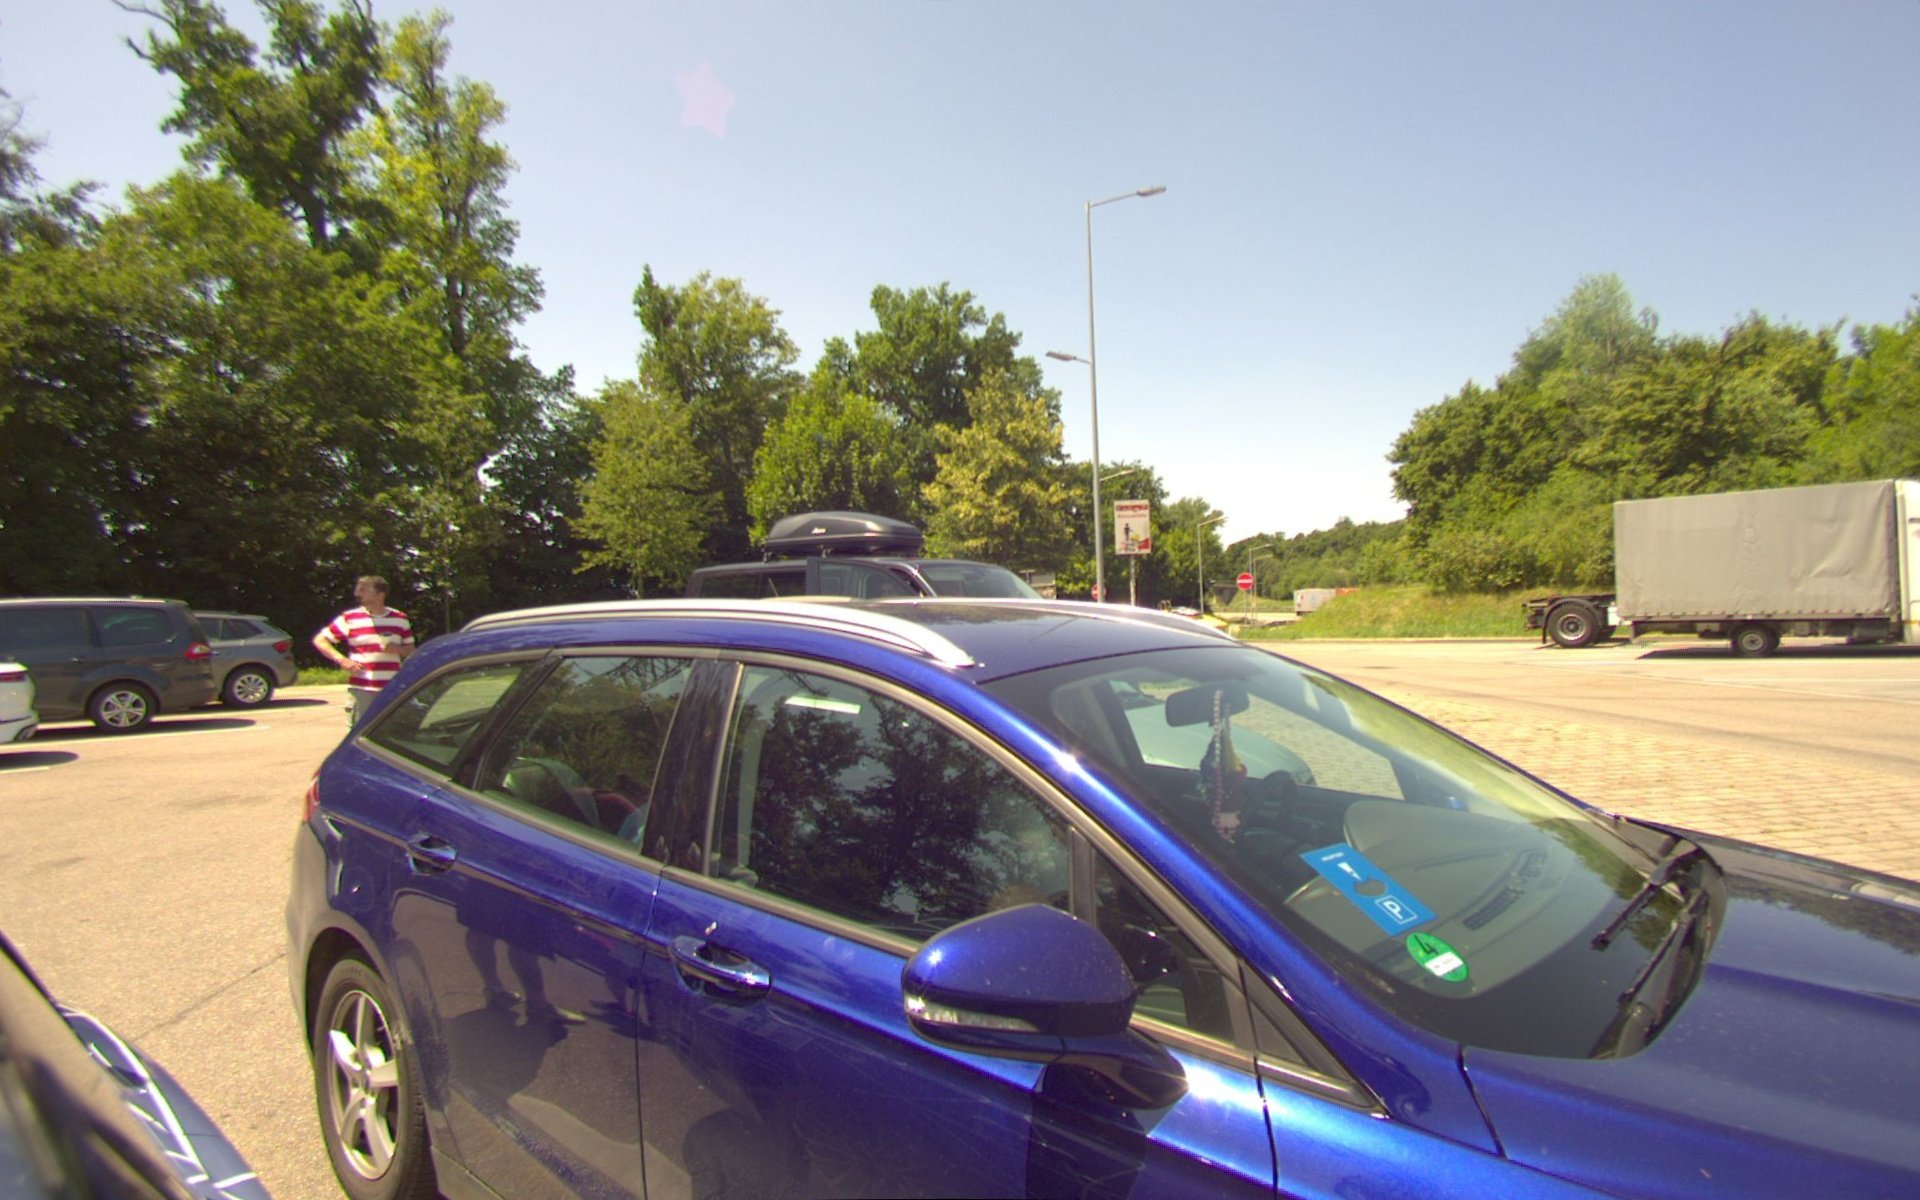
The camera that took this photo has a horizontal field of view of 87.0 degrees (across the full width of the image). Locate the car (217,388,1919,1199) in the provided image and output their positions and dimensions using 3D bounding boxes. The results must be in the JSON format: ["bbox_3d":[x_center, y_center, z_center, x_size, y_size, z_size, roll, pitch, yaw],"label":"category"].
[{"bbox_3d":[0.225,0.633,2.078,4.569,1.482,1.735,-3,0,40],"label":"car"}]

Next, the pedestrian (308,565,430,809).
[{"bbox_3d":[-4.607,0.628,7.878,0.743,1.767,0.787,-1,0,-35],"label":"pedestrian"}]

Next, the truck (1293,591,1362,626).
[{"bbox_3d":[49.717,1.110,137.437,2.716,4.589,14.086,-1,0,-7],"label":"truck"}]

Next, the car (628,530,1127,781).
[{"bbox_3d":[-0.901,0.498,9.663,4.558,1.912,1.740,-3,0,32],"label":"car"}]

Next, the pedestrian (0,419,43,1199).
[{"bbox_3d":[-2.736,0.519,2.247,0.905,1.919,0.816,-1,0,-33],"label":"pedestrian"}]

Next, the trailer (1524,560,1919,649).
[{"bbox_3d":[17.697,0.158,23.113,8.098,1.638,2.187,-4,-1,41],"label":"trailer"}]

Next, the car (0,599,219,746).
[{"bbox_3d":[-11.640,0.866,12.661,3.767,1.708,1.654,-1,0,-38],"label":"car"}]

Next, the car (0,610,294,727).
[{"bbox_3d":[-12.632,0.970,15.668,3.767,1.572,1.654,-1,0,-38],"label":"car"}]

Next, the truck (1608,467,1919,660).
[{"bbox_3d":[16.772,-0.647,19.016,7.274,3.269,2.678,-4,-1,42],"label":"truck"}]

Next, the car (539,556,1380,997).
[{"bbox_3d":[-0.331,0.668,5.614,4.569,1.517,1.735,-3,0,40],"label":"car"}]
